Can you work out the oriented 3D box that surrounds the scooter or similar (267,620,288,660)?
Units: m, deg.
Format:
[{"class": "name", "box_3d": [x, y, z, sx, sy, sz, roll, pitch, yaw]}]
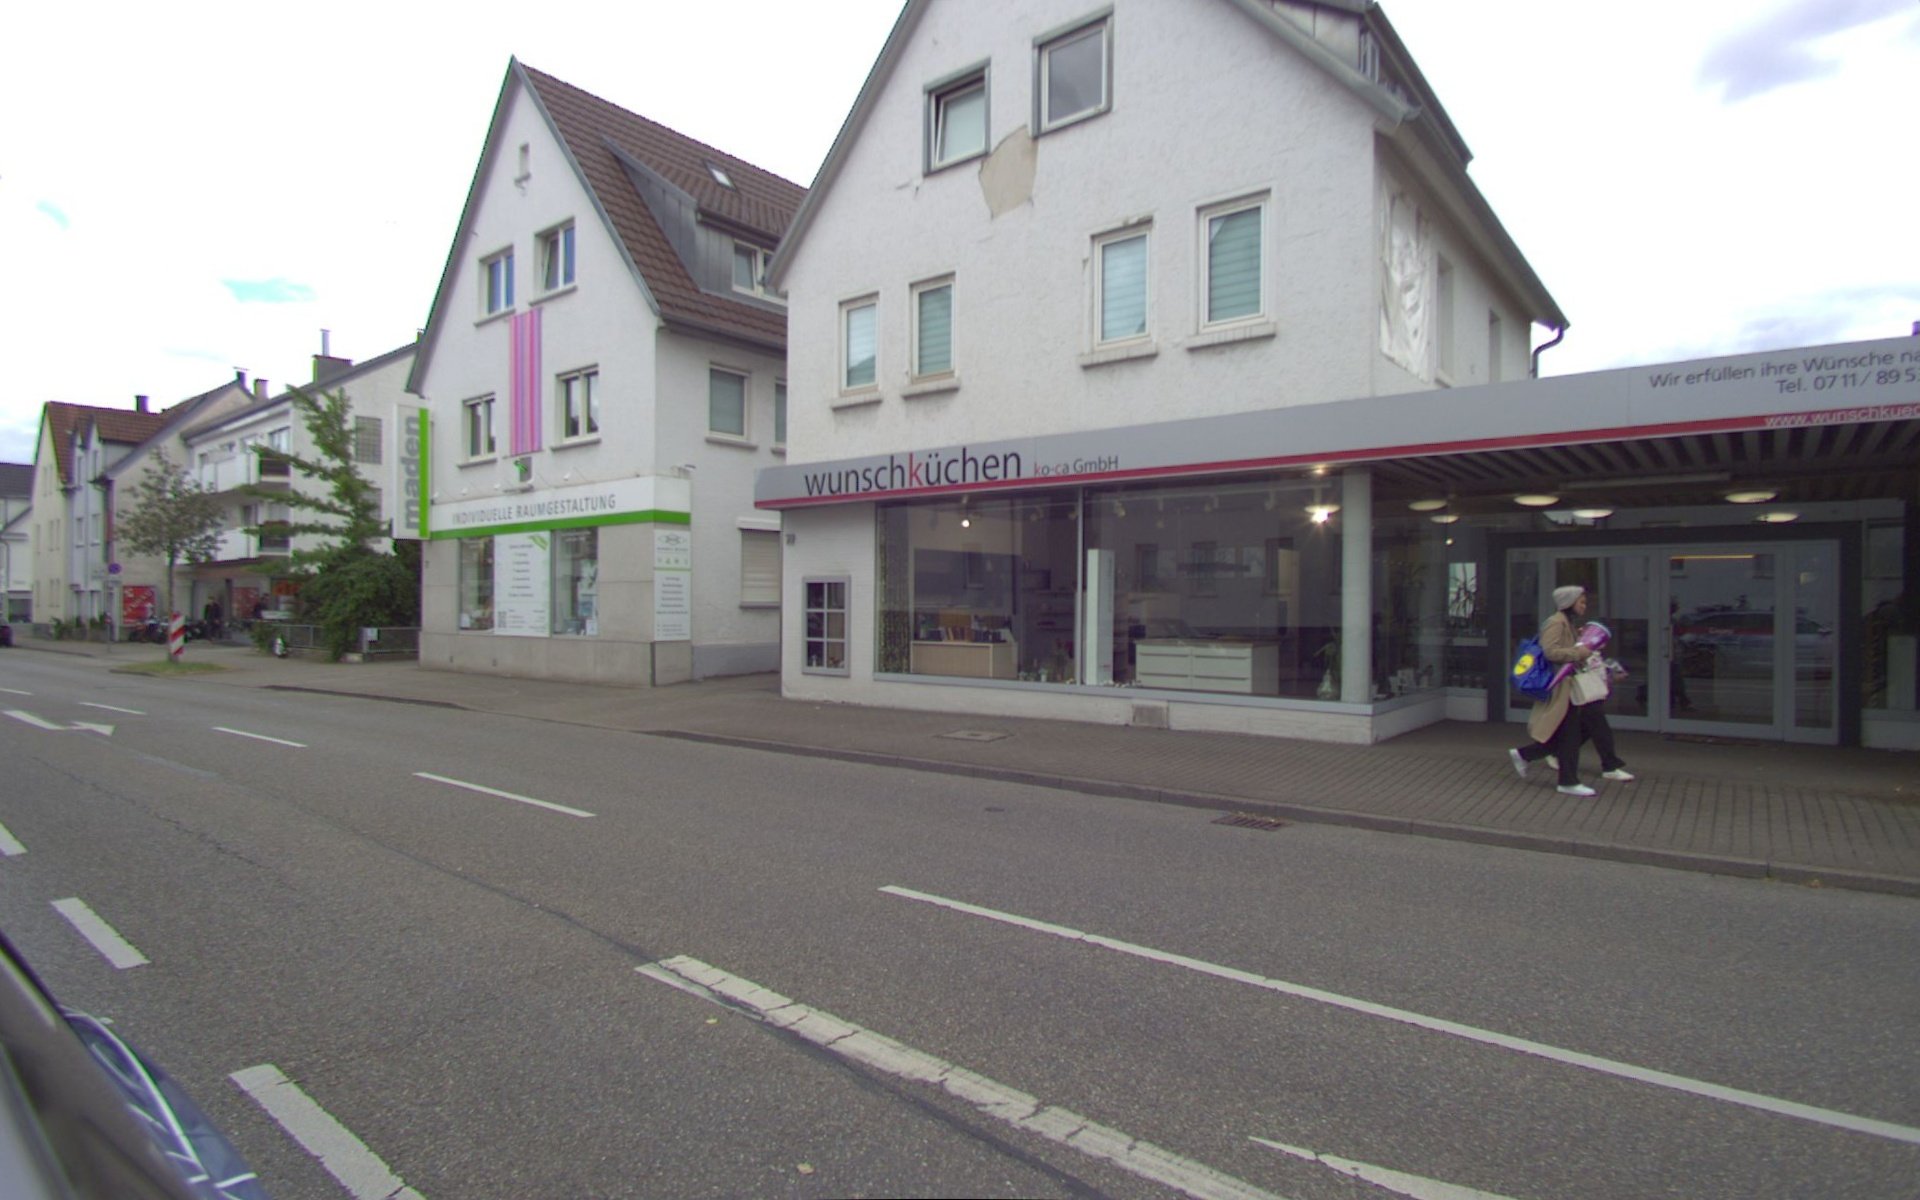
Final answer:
[{"class": "scooter or similar", "box_3d": [-20.285, 1.178, 30.070, 0.458, 1.132, 1.832, -1, -1, -36]}]

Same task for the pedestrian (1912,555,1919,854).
[{"class": "pedestrian", "box_3d": [6.170, 0.618, 5.624, 1.229, 1.767, 0.813, 0, 0, 41]}]

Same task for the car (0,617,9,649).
[{"class": "car", "box_3d": [-44.463, 1.466, 45.665, 3.993, 1.423, 1.614, -1, -2, 37]}]

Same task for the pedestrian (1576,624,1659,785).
[{"class": "pedestrian", "box_3d": [5.458, 0.846, 8.423, 0.548, 1.271, 0.379, -1, 0, 30]}]

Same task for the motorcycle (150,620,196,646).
[{"class": "motorcycle", "box_3d": [-32.924, 1.364, 42.340, 0.525, 1.030, 1.411, -1, 1, 40]}]

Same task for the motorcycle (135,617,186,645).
[{"class": "motorcycle", "box_3d": [-34.783, 1.330, 44.044, 0.558, 1.114, 1.657, -1, 1, 39]}]

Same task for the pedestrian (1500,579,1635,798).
[{"class": "pedestrian", "box_3d": [4.754, 0.654, 7.963, 0.863, 1.617, 0.635, -1, 0, 30]}]
